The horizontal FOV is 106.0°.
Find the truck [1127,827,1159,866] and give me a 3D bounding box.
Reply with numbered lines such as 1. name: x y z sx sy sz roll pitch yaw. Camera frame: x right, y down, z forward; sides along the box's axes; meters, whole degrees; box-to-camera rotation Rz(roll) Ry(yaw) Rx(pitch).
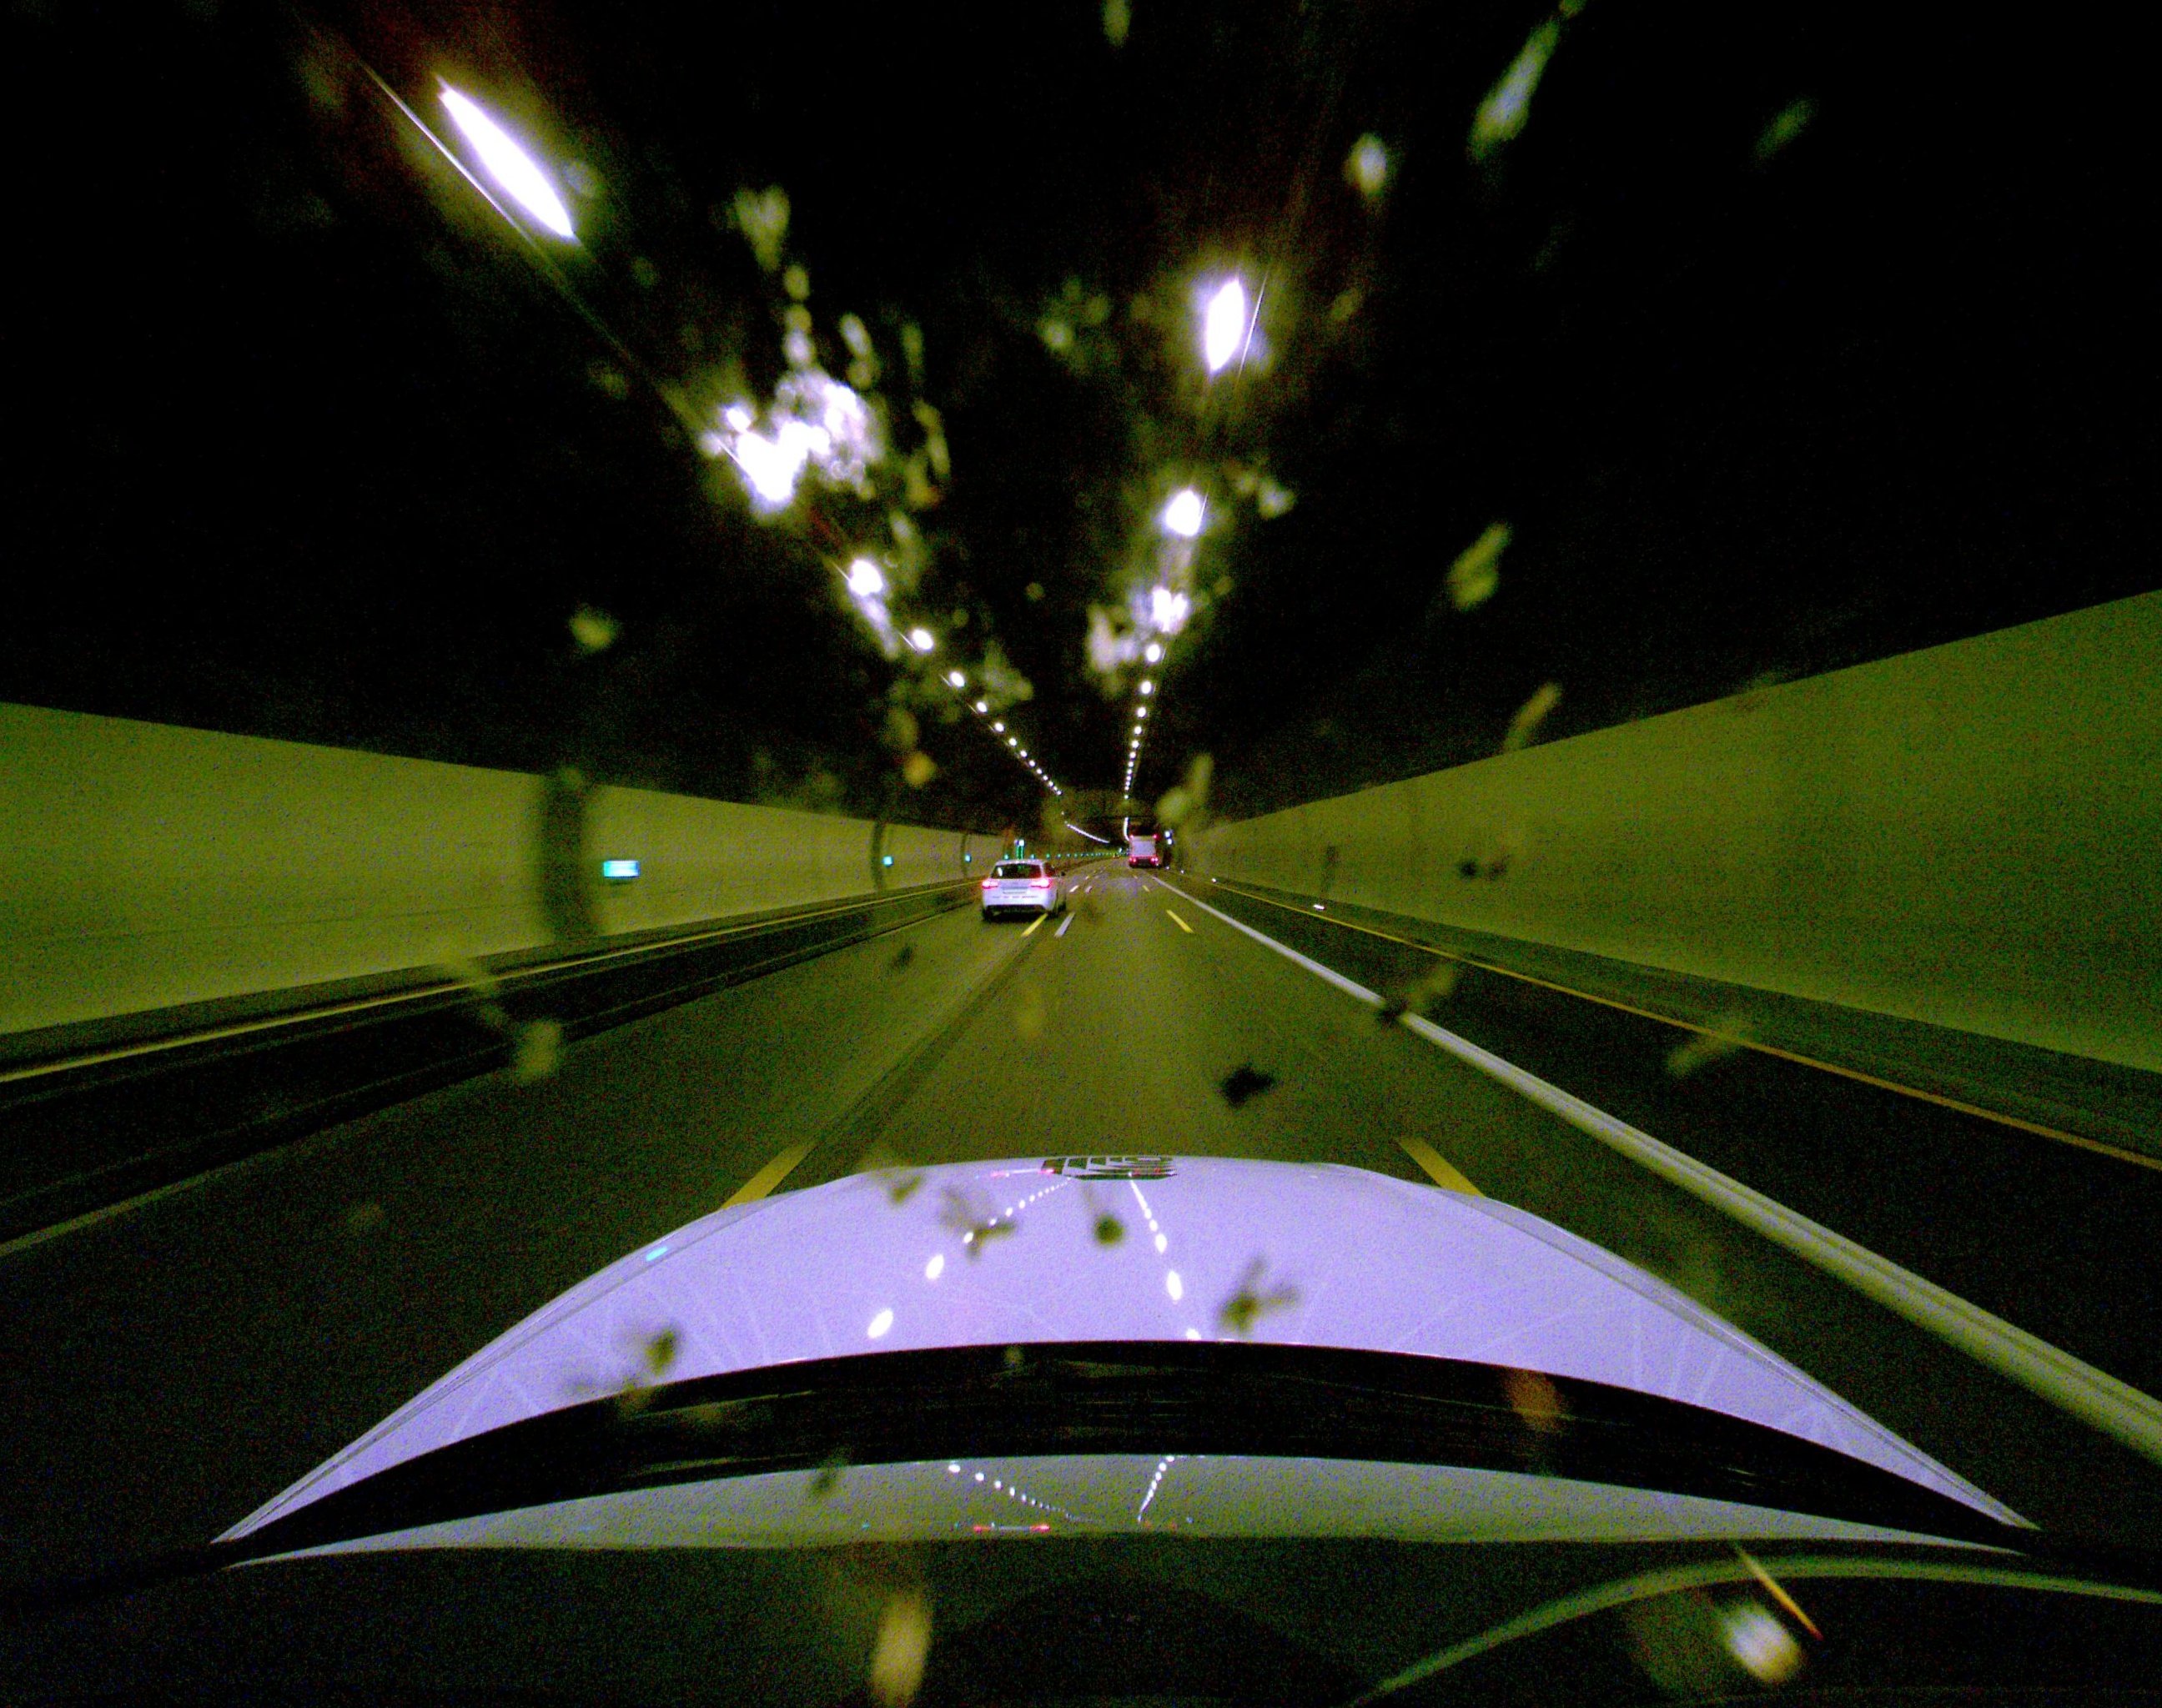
1. truck: 6.776 -0.751 90.207 3.079 3.918 10.374 -2 -1 2

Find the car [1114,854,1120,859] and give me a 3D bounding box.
1. car: 10.686 0.676 244.512 1.752 1.461 4.121 -2 1 3

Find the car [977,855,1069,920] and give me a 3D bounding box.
1. car: -1.384 0.790 21.283 1.896 1.485 4.945 -1 0 1
